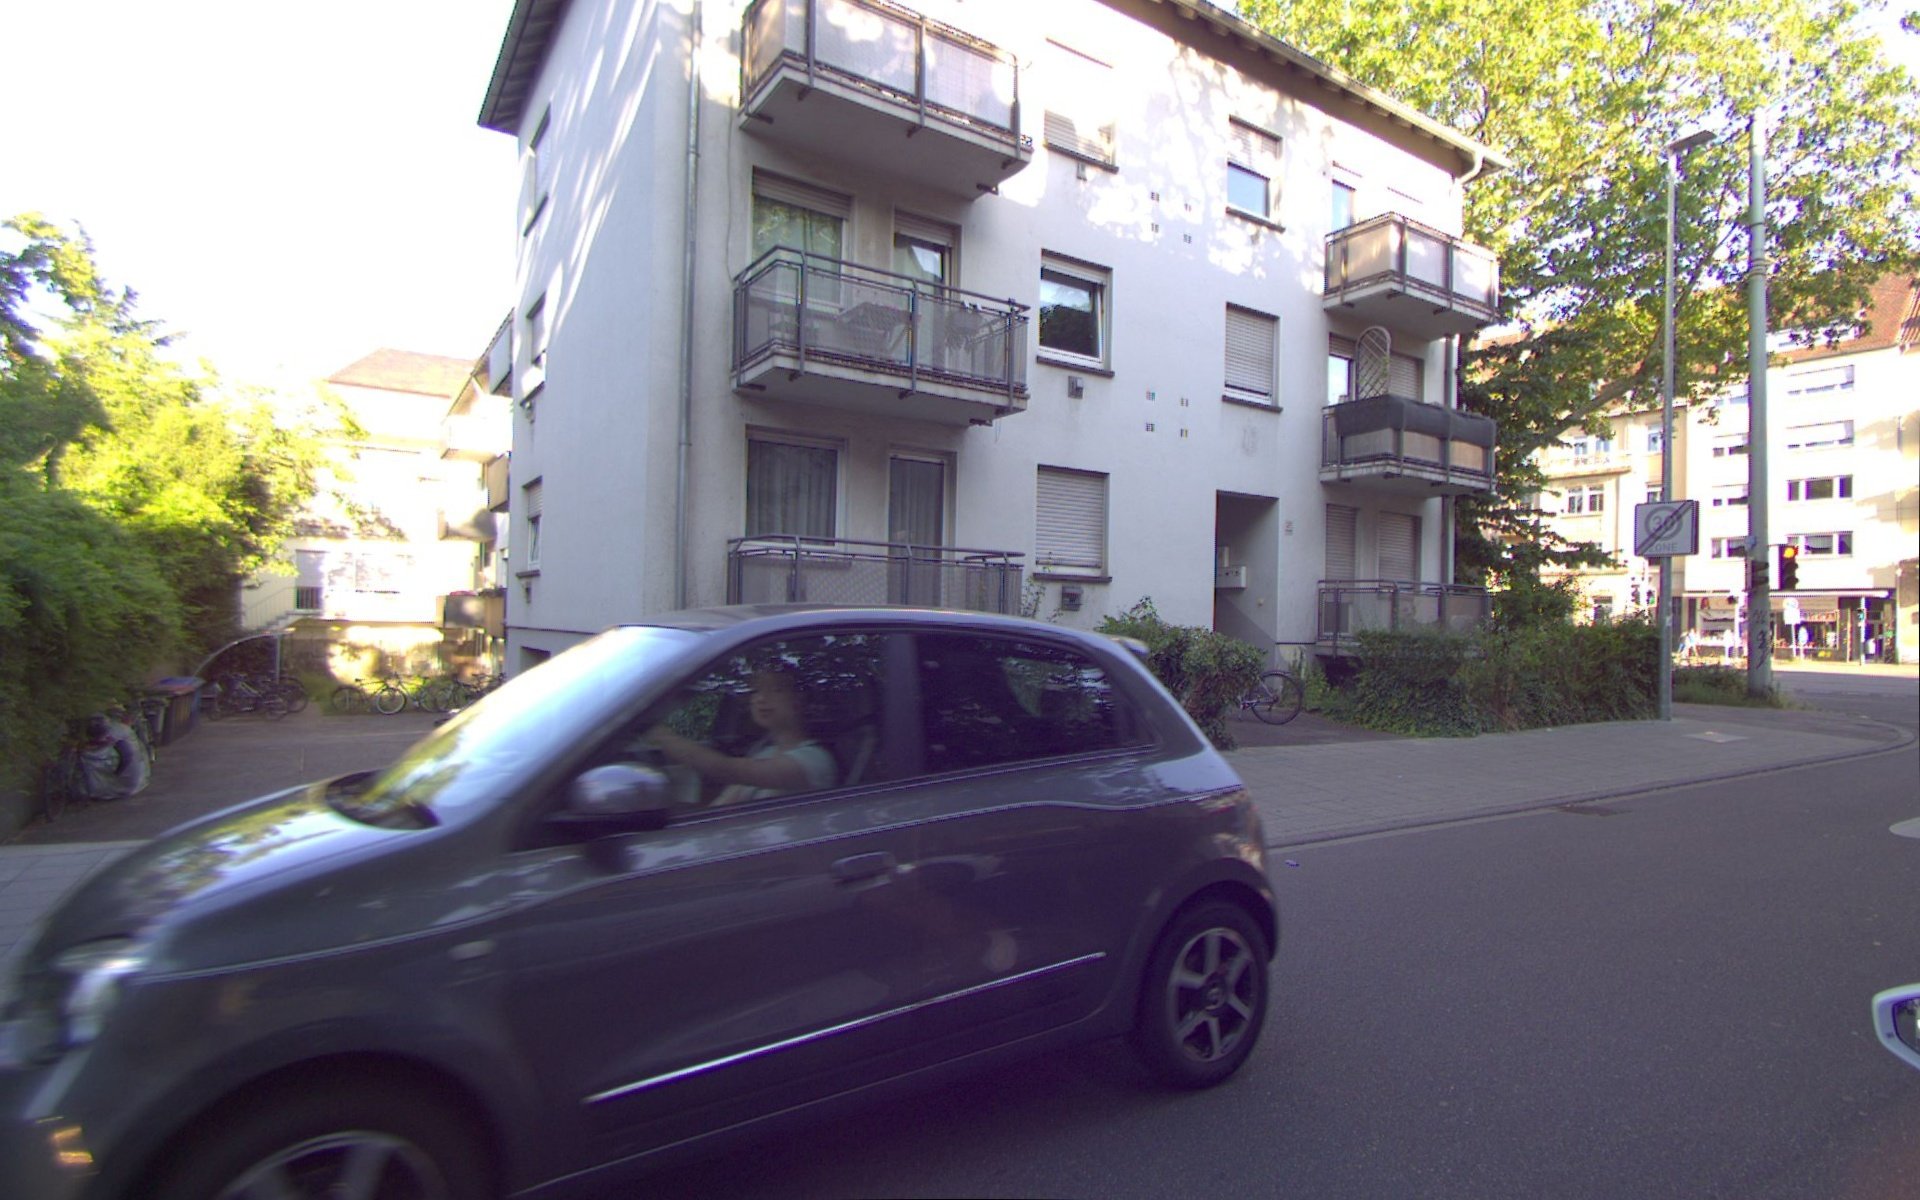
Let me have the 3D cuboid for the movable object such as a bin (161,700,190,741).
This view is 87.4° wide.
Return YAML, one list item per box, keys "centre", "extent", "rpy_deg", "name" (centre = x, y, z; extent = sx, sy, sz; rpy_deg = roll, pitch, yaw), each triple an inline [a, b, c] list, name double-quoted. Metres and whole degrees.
- centre: [-15.819, 2.425, 20.263]
  extent: [0.377, 0.784, 0.361]
  rpy_deg: [2, -4, -30]
  name: "movable object such as a bin"

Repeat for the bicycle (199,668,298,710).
- centre: [-18.854, 2.373, 26.665]
  extent: [2.045, 1.034, 0.611]
  rpy_deg: [4, 0, -30]
  name: "bicycle"

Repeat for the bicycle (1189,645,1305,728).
- centre: [3.887, 1.156, 13.622]
  extent: [1.433, 0.988, 0.407]
  rpy_deg: [3, 0, 21]
  name: "bicycle"

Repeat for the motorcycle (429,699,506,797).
- centre: [-7.387, 2.179, 15.038]
  extent: [0.751, 1.268, 1.578]
  rpy_deg: [1, -2, -36]
  name: "motorcycle"

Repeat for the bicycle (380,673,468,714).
- centre: [-14.551, 2.542, 27.294]
  extent: [2.045, 1.034, 0.637]
  rpy_deg: [4, 0, -30]
  name: "bicycle"

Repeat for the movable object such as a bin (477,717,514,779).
- centre: [-7.496, 2.369, 16.192]
  extent: [0.428, 0.899, 0.720]
  rpy_deg: [1, -2, -34]
  name: "movable object such as a bin"

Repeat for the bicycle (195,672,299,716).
- centre: [-18.022, 2.392, 25.439]
  extent: [2.045, 1.034, 0.568]
  rpy_deg: [4, 0, -30]
  name: "bicycle"

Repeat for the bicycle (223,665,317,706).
- centre: [-18.989, 2.375, 27.702]
  extent: [2.045, 1.034, 0.611]
  rpy_deg: [4, 0, -30]
  name: "bicycle"

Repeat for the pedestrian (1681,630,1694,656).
- centre: [42.249, 2.498, 58.333]
  extent: [0.531, 1.531, 0.505]
  rpy_deg: [1, -1, -34]
  name: "pedestrian"

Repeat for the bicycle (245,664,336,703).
- centre: [-19.012, 2.378, 28.574]
  extent: [2.045, 1.034, 0.564]
  rpy_deg: [4, 0, -30]
  name: "bicycle"

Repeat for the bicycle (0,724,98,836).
- centre: [-10.944, 2.113, 12.108]
  extent: [0.509, 1.033, 1.922]
  rpy_deg: [3, -1, -32]
  name: "bicycle"

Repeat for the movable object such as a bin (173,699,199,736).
- centre: [-16.398, 2.485, 21.295]
  extent: [0.362, 0.768, 0.361]
  rpy_deg: [2, -4, -30]
  name: "movable object such as a bin"

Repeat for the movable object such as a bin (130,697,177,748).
- centre: [-14.946, 2.264, 18.631]
  extent: [0.570, 0.891, 0.491]
  rpy_deg: [2, -4, -30]
  name: "movable object such as a bin"

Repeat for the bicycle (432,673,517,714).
- centre: [-13.494, 2.610, 27.913]
  extent: [2.045, 1.034, 0.637]
  rpy_deg: [4, 0, -30]
  name: "bicycle"

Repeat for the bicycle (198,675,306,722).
- centre: [-17.270, 2.410, 24.560]
  extent: [2.045, 1.034, 0.637]
  rpy_deg: [4, 0, -30]
  name: "bicycle"

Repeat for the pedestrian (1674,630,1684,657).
- centre: [41.555, 2.519, 58.048]
  extent: [0.424, 1.531, 0.472]
  rpy_deg: [0, -1, 40]
  name: "pedestrian"

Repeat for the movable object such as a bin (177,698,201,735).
- centre: [-16.602, 2.514, 21.637]
  extent: [0.342, 0.768, 0.361]
  rpy_deg: [2, -4, -30]
  name: "movable object such as a bin"

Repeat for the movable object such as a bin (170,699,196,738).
- centre: [-16.204, 2.466, 20.954]
  extent: [0.362, 0.768, 0.361]
  rpy_deg: [2, -4, -30]
  name: "movable object such as a bin"

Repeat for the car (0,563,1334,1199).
- centre: [-0.622, 0.777, 3.171]
  extent: [3.554, 1.521, 1.606]
  rpy_deg: [2, -3, -34]
  name: "car"

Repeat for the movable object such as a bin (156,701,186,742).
- centre: [-15.625, 2.402, 19.903]
  extent: [0.393, 0.784, 0.361]
  rpy_deg: [2, -4, -30]
  name: "movable object such as a bin"

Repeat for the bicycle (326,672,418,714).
- centre: [-15.594, 2.474, 26.678]
  extent: [2.045, 1.034, 0.637]
  rpy_deg: [4, 0, -30]
  name: "bicycle"

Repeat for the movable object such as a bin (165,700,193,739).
- centre: [-16.017, 2.450, 20.605]
  extent: [0.371, 0.768, 0.361]
  rpy_deg: [2, -4, -30]
  name: "movable object such as a bin"

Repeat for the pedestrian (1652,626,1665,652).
- centre: [40.658, 2.260, 58.448]
  extent: [0.558, 1.531, 0.499]
  rpy_deg: [0, -1, 41]
  name: "pedestrian"

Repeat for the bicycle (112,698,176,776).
- centre: [-13.216, 2.181, 16.303]
  extent: [0.509, 1.033, 1.922]
  rpy_deg: [3, -1, -32]
  name: "bicycle"
